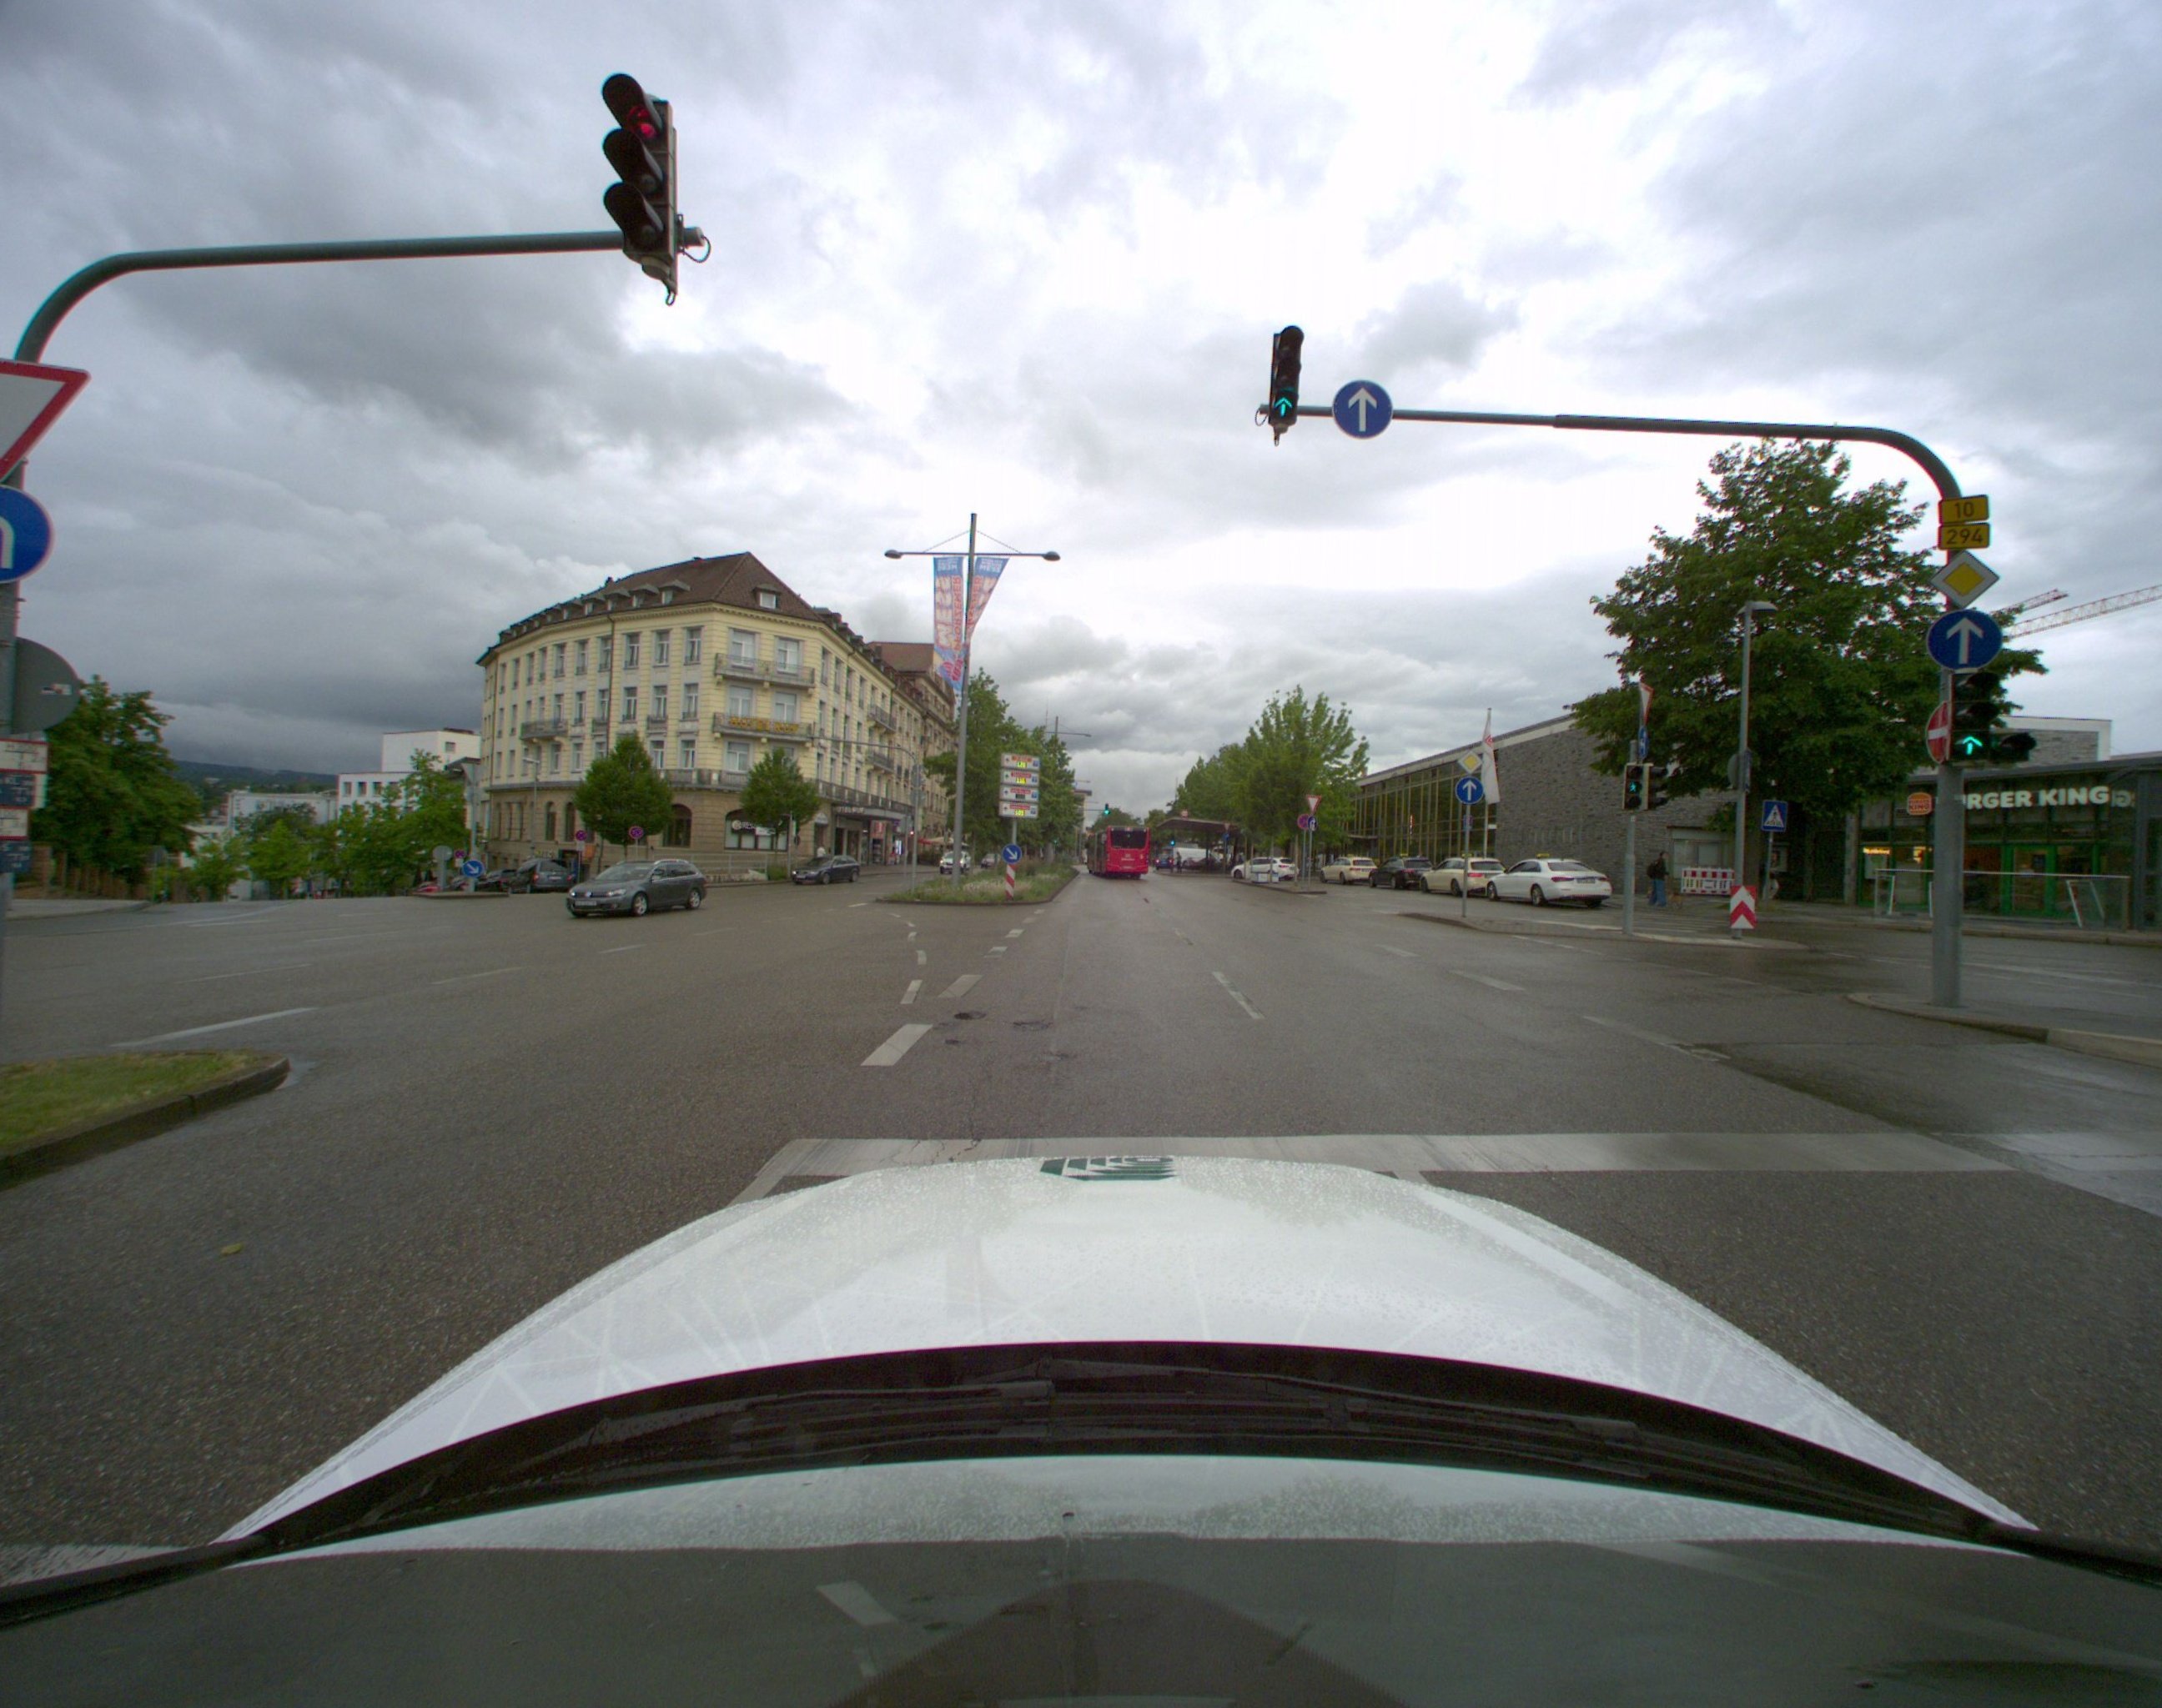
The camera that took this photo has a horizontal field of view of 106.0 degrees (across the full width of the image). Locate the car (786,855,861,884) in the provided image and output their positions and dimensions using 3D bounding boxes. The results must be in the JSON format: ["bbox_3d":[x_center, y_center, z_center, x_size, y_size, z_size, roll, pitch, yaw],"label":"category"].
[{"bbox_3d":[-13.274,0.754,42.243,1.741,1.369,4.077,0,1,16],"label":"car"}]

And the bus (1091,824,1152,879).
[{"bbox_3d":[2.383,-0.147,51.058,2.738,3.174,8.106,0,0,-5],"label":"bus"}]

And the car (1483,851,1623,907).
[{"bbox_3d":[14.655,0.722,25.652,1.768,1.589,4.615,0,0,0],"label":"car"}]

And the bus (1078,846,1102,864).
[{"bbox_3d":[1.658,0.177,156.812,3.751,3.209,15.511,0,0,-2],"label":"bus"}]

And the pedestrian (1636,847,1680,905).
[{"bbox_3d":[17.010,0.645,24.009,0.805,1.674,0.713,0,0,1],"label":"pedestrian"}]

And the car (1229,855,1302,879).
[{"bbox_3d":[11.493,0.787,50.940,1.788,1.385,4.318,0,0,-39],"label":"car"}]

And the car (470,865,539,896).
[{"bbox_3d":[-31.962,1.420,45.103,3.948,1.640,2.013,-1,-1,37],"label":"car"}]

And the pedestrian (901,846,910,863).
[{"bbox_3d":[-16.195,0.048,75.188,0.666,1.510,0.513,0,-1,-36],"label":"pedestrian"}]

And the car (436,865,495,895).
[{"bbox_3d":[-36.305,1.497,48.024,3.864,1.640,1.805,0,0,37],"label":"car"}]

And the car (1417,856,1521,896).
[{"bbox_3d":[14.794,0.788,31.371,1.840,1.452,4.666,0,0,0],"label":"car"}]

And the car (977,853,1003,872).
[{"bbox_3d":[-8.497,0.800,76.072,1.987,1.758,3.999,0,0,-1],"label":"car"}]

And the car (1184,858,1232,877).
[{"bbox_3d":[12.827,1.387,82.134,4.348,1.857,1.988,0,0,-18],"label":"car"}]

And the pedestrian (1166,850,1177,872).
[{"bbox_3d":[7.414,0.599,66.691,0.717,1.791,0.663,0,0,-10],"label":"pedestrian"}]

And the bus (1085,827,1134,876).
[{"bbox_3d":[1.899,-0.146,58.623,2.736,3.174,10.184,0,0,-3],"label":"bus"}]

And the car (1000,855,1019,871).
[{"bbox_3d":[-8.228,0.982,93.647,1.989,1.791,3.996,0,0,-3],"label":"car"}]

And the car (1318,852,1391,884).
[{"bbox_3d":[14.689,0.714,44.092,1.990,1.600,4.814,0,0,-5],"label":"car"}]

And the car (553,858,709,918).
[{"bbox_3d":[-12.119,0.866,22.291,1.747,1.441,4.064,-2,0,4],"label":"car"}]

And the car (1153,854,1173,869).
[{"bbox_3d":[8.564,0.758,85.371,1.809,1.530,4.001,0,0,2],"label":"car"}]

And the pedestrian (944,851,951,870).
[{"bbox_3d":[-12.414,0.605,75.853,0.573,1.732,0.609,0,0,1],"label":"pedestrian"}]

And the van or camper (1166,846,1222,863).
[{"bbox_3d":[14.236,0.064,102.693,6.787,2.014,2.366,0,-1,-25],"label":"van or camper"}]

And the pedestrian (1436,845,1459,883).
[{"bbox_3d":[19.251,0.520,42.815,0.808,2.014,0.921,0,0,1],"label":"pedestrian"}]

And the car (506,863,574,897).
[{"bbox_3d":[-27.093,1.275,40.763,3.949,1.568,1.812,0,0,41],"label":"car"}]

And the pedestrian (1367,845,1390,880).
[{"bbox_3d":[17.294,0.477,47.354,0.814,2.014,0.914,1,0,-22],"label":"pedestrian"}]

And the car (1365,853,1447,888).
[{"bbox_3d":[14.892,0.712,37.597,1.907,1.524,4.741,0,0,0],"label":"car"}]

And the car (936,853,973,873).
[{"bbox_3d":[-9.133,0.640,59.247,1.747,1.369,4.064,0,0,4],"label":"car"}]

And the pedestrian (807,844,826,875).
[{"bbox_3d":[-16.531,0.344,50.910,0.860,1.878,1.023,0,0,1],"label":"pedestrian"}]

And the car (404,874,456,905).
[{"bbox_3d":[-41.181,2.214,51.484,3.575,1.812,1.788,0,0,38],"label":"car"}]

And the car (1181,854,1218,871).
[{"bbox_3d":[14.029,0.977,96.494,3.998,2.014,1.988,0,0,-18],"label":"car"}]

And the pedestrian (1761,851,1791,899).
[{"bbox_3d":[23.559,0.705,27.602,0.558,1.633,0.566,0,0,0],"label":"pedestrian"}]

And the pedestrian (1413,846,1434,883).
[{"bbox_3d":[18.923,0.552,44.961,0.808,2.014,0.922,0,0,2],"label":"pedestrian"}]
